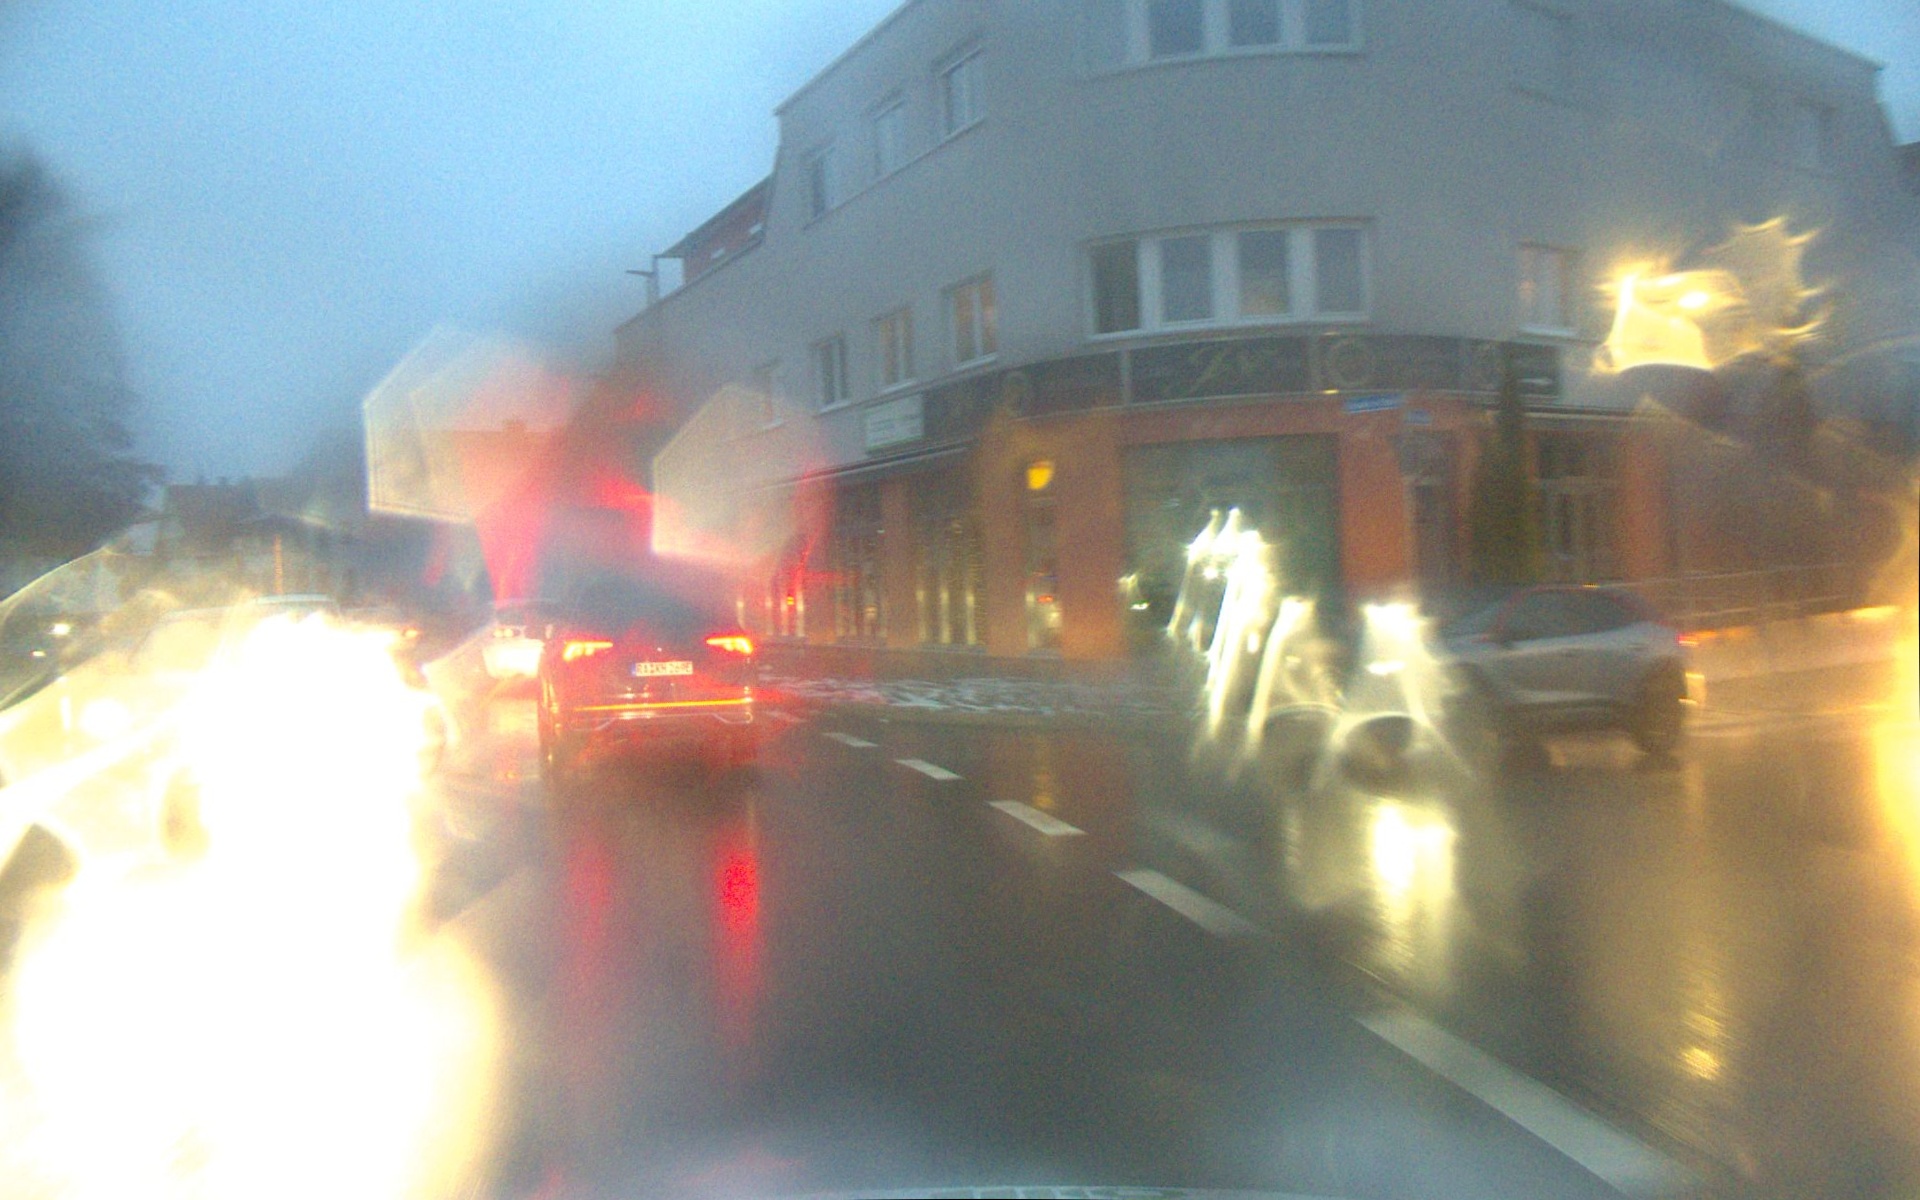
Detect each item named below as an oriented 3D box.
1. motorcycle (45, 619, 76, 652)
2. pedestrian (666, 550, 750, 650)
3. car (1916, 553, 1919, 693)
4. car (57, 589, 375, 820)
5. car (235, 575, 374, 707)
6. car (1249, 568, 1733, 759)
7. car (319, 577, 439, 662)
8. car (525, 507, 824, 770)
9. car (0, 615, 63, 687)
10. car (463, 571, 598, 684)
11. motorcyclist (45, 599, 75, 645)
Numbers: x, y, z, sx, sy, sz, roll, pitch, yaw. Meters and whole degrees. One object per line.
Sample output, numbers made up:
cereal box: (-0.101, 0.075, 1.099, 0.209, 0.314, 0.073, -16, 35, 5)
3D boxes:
motorcycle: (-30.664, 1.204, 56.366, 0.856, 1.041, 2.089, -2, 0, -29)
pedestrian: (-5.108, 0.000, 33.522, 1.239, 1.897, 1.293, -5, 2, -25)
car: (14.617, 0.278, 22.014, 4.092, 1.819, 2.018, 0, 0, -40)
car: (-5.876, 0.716, 13.518, 1.635, 1.512, 3.985, -3, 1, -14)
car: (-10.001, 0.562, 25.305, 1.747, 1.753, 4.393, -3, 1, -21)
car: (4.735, 0.460, 14.647, 4.125, 1.466, 1.780, -1, 1, -29)
car: (-15.352, 0.509, 43.548, 2.283, 1.972, 4.974, -4, 1, -27)
car: (-2.920, 0.291, 15.829, 2.272, 1.972, 4.998, -4, 1, -15)
car: (-24.228, 1.243, 40.238, 4.183, 1.729, 1.880, 0, -1, -31)
car: (-7.216, 0.402, 27.549, 1.830, 1.676, 3.978, -2, 1, -19)
motorcyclist: (-30.623, 0.760, 56.273, 0.856, 1.511, 0.900, -2, 0, -30)
